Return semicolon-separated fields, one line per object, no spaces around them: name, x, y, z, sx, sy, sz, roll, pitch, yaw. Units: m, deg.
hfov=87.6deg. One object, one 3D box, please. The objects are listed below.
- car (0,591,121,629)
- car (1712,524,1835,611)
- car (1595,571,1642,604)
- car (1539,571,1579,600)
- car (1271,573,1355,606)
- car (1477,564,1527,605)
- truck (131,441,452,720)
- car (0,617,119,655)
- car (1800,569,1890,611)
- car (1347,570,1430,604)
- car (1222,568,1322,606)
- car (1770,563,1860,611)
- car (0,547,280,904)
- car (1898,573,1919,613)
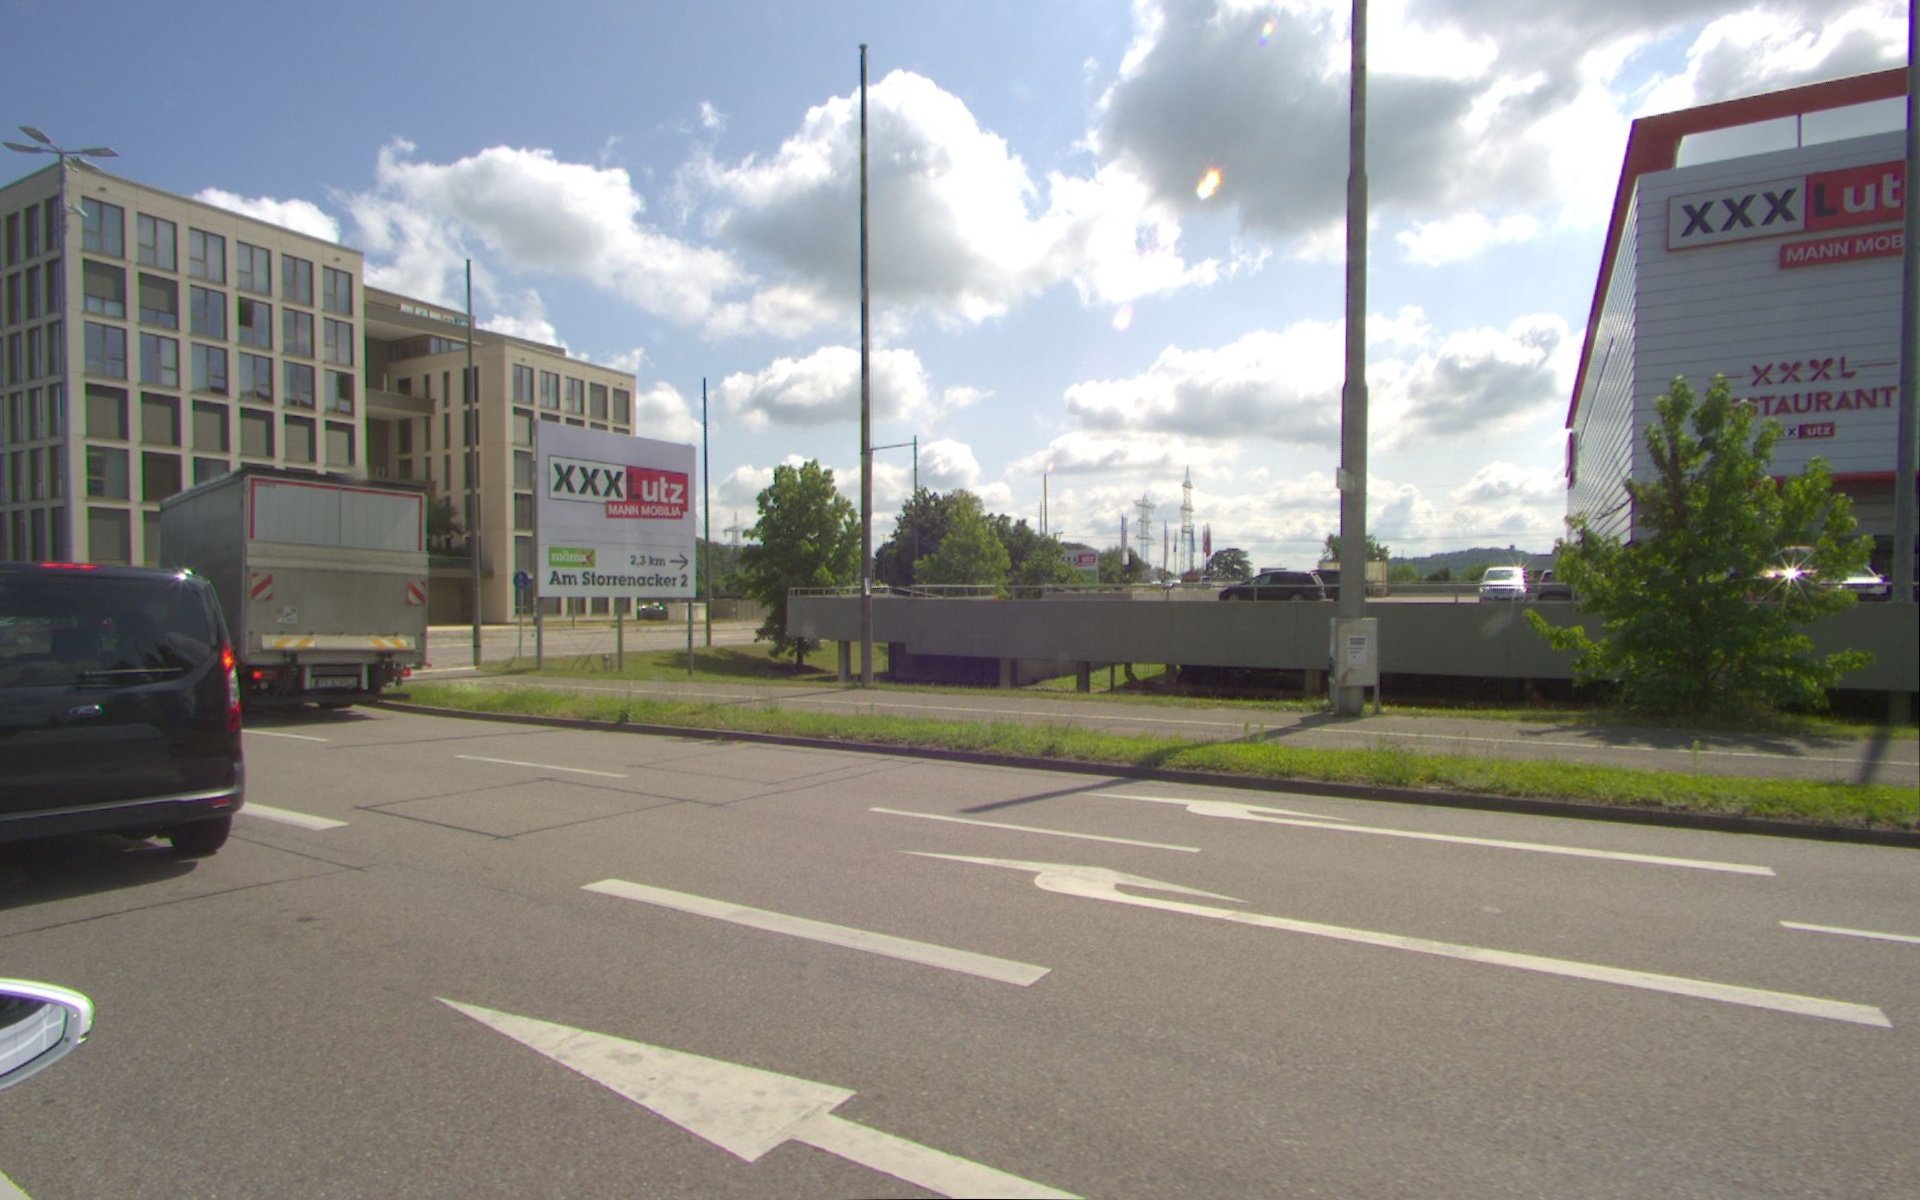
car;-41.580;0.466;45.476;1.970;1.628;4.978;1;-1;29
car;23.875;-0.835;29.600;1.957;2.223;5.156;0;-2;29
car;29.876;-0.595;45.506;1.561;1.430;3.519;1;2;30
car;32.339;-0.768;54.129;1.682;1.438;3.893;1;-1;28
car;17.945;-0.526;50.881;3.806;1.622;1.742;1;0;27
car;22.887;-0.622;42.395;1.608;1.596;3.897;1;-1;25
truck;-12.669;-0.200;18.523;8.764;3.991;3.112;-1;-1;44
car;-38.684;1.507;42.756;1.768;1.509;3.888;1;-1;31
car;35.300;-0.366;40.048;1.970;1.563;3.981;1;-1;31
car;23.026;-0.672;53.793;3.937;1.751;1.993;1;0;27
car;13.289;-0.550;42.637;3.806;1.541;1.869;1;0;27
car;30.730;-0.430;36.106;1.609;1.596;3.894;1;-1;28
car;-6.334;0.668;6.583;3.946;1.832;1.815;0;-1;35
car;37.328;-0.266;38.128;1.561;1.484;3.521;1;-1;30
